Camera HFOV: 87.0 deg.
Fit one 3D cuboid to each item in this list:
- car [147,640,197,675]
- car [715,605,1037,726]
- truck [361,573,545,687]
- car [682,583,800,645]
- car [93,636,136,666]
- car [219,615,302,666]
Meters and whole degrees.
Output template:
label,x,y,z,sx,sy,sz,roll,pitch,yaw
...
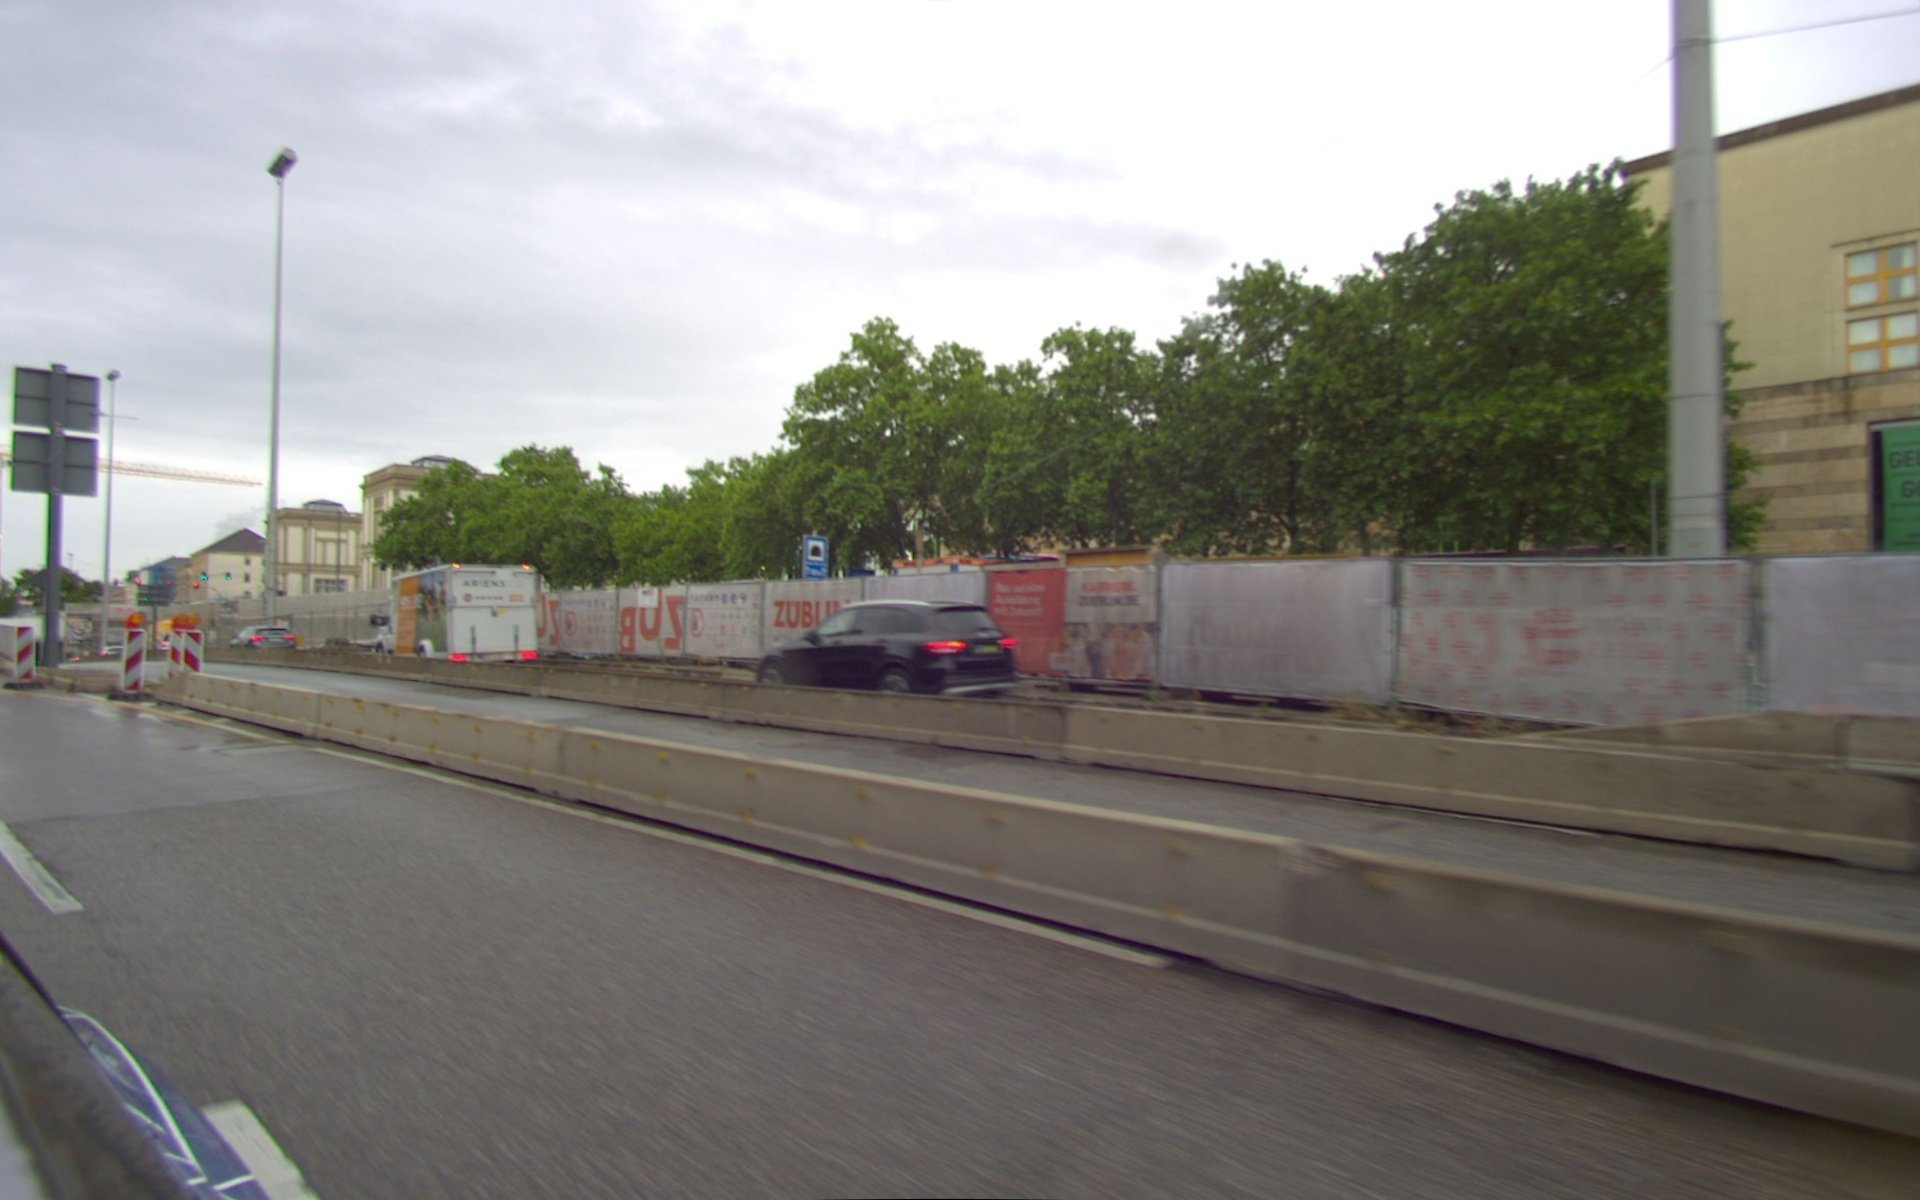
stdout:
label,x,y,z,sx,sy,sz,roll,pitch,yaw
car,-45.255,3.280,58.108,3.357,1.882,1.682,-1,-2,42
car,-1.362,0.893,15.076,4.753,1.542,1.902,-1,-2,38
truck,-14.045,0.816,27.727,2.370,2.740,7.359,1,-2,-44
car,-7.925,0.554,36.404,1.970,2.029,4.720,1,-3,-44
car,-61.672,3.681,73.800,4.001,2.029,1.877,-1,-2,44
car,-30.570,1.739,44.195,4.758,2.029,1.887,0,-3,42
